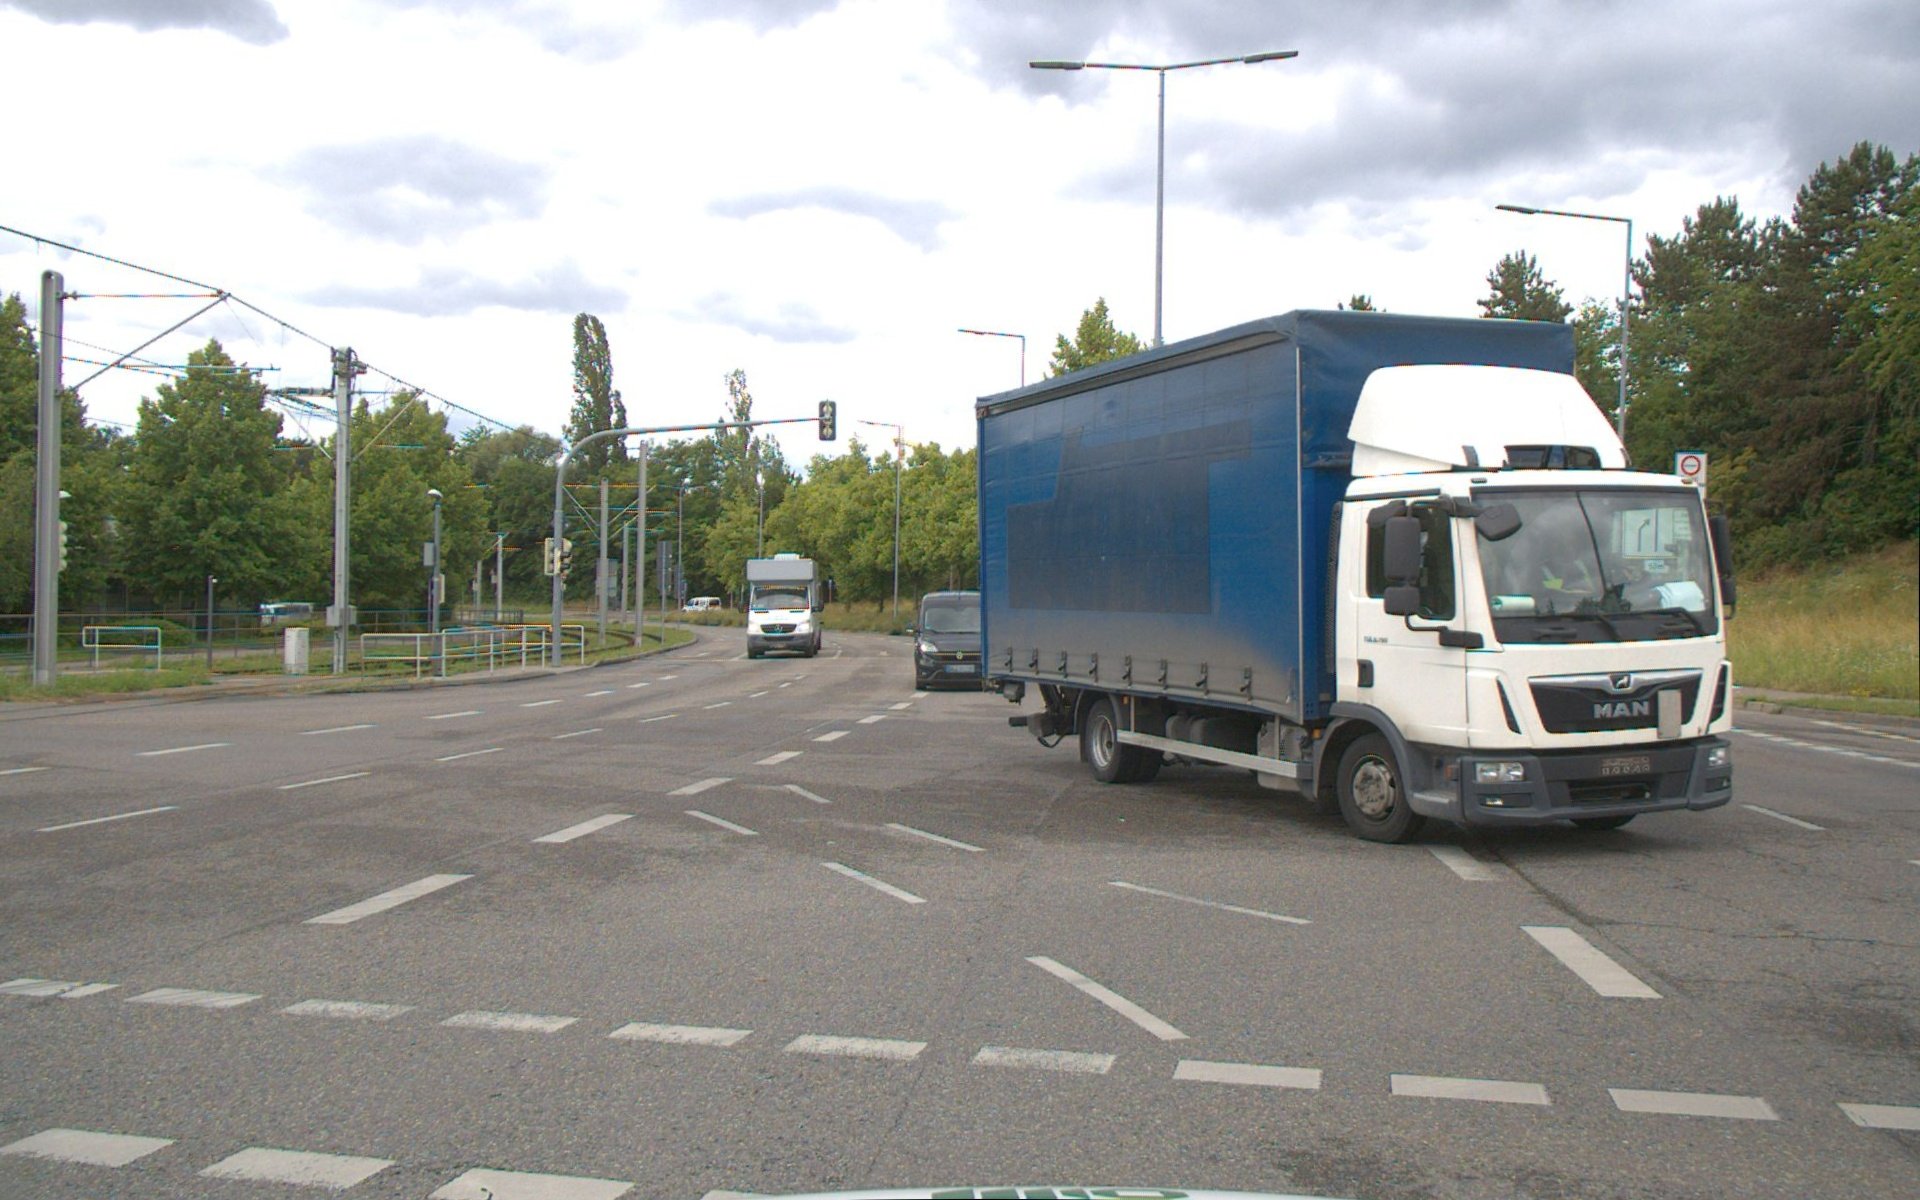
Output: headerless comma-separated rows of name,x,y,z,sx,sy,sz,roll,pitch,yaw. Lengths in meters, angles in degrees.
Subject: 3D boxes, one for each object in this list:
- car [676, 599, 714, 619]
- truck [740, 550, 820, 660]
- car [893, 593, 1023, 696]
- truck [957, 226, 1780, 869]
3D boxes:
car,-23.893,0.799,149.044,1.977,1.758,3.680,0,0,-35
truck,-5.466,0.160,51.009,2.063,3.063,6.268,-3,0,-4
car,-0.131,0.835,33.312,1.956,1.909,4.882,0,0,-8
truck,2.694,-0.300,14.356,2.738,3.871,8.337,0,0,-20
